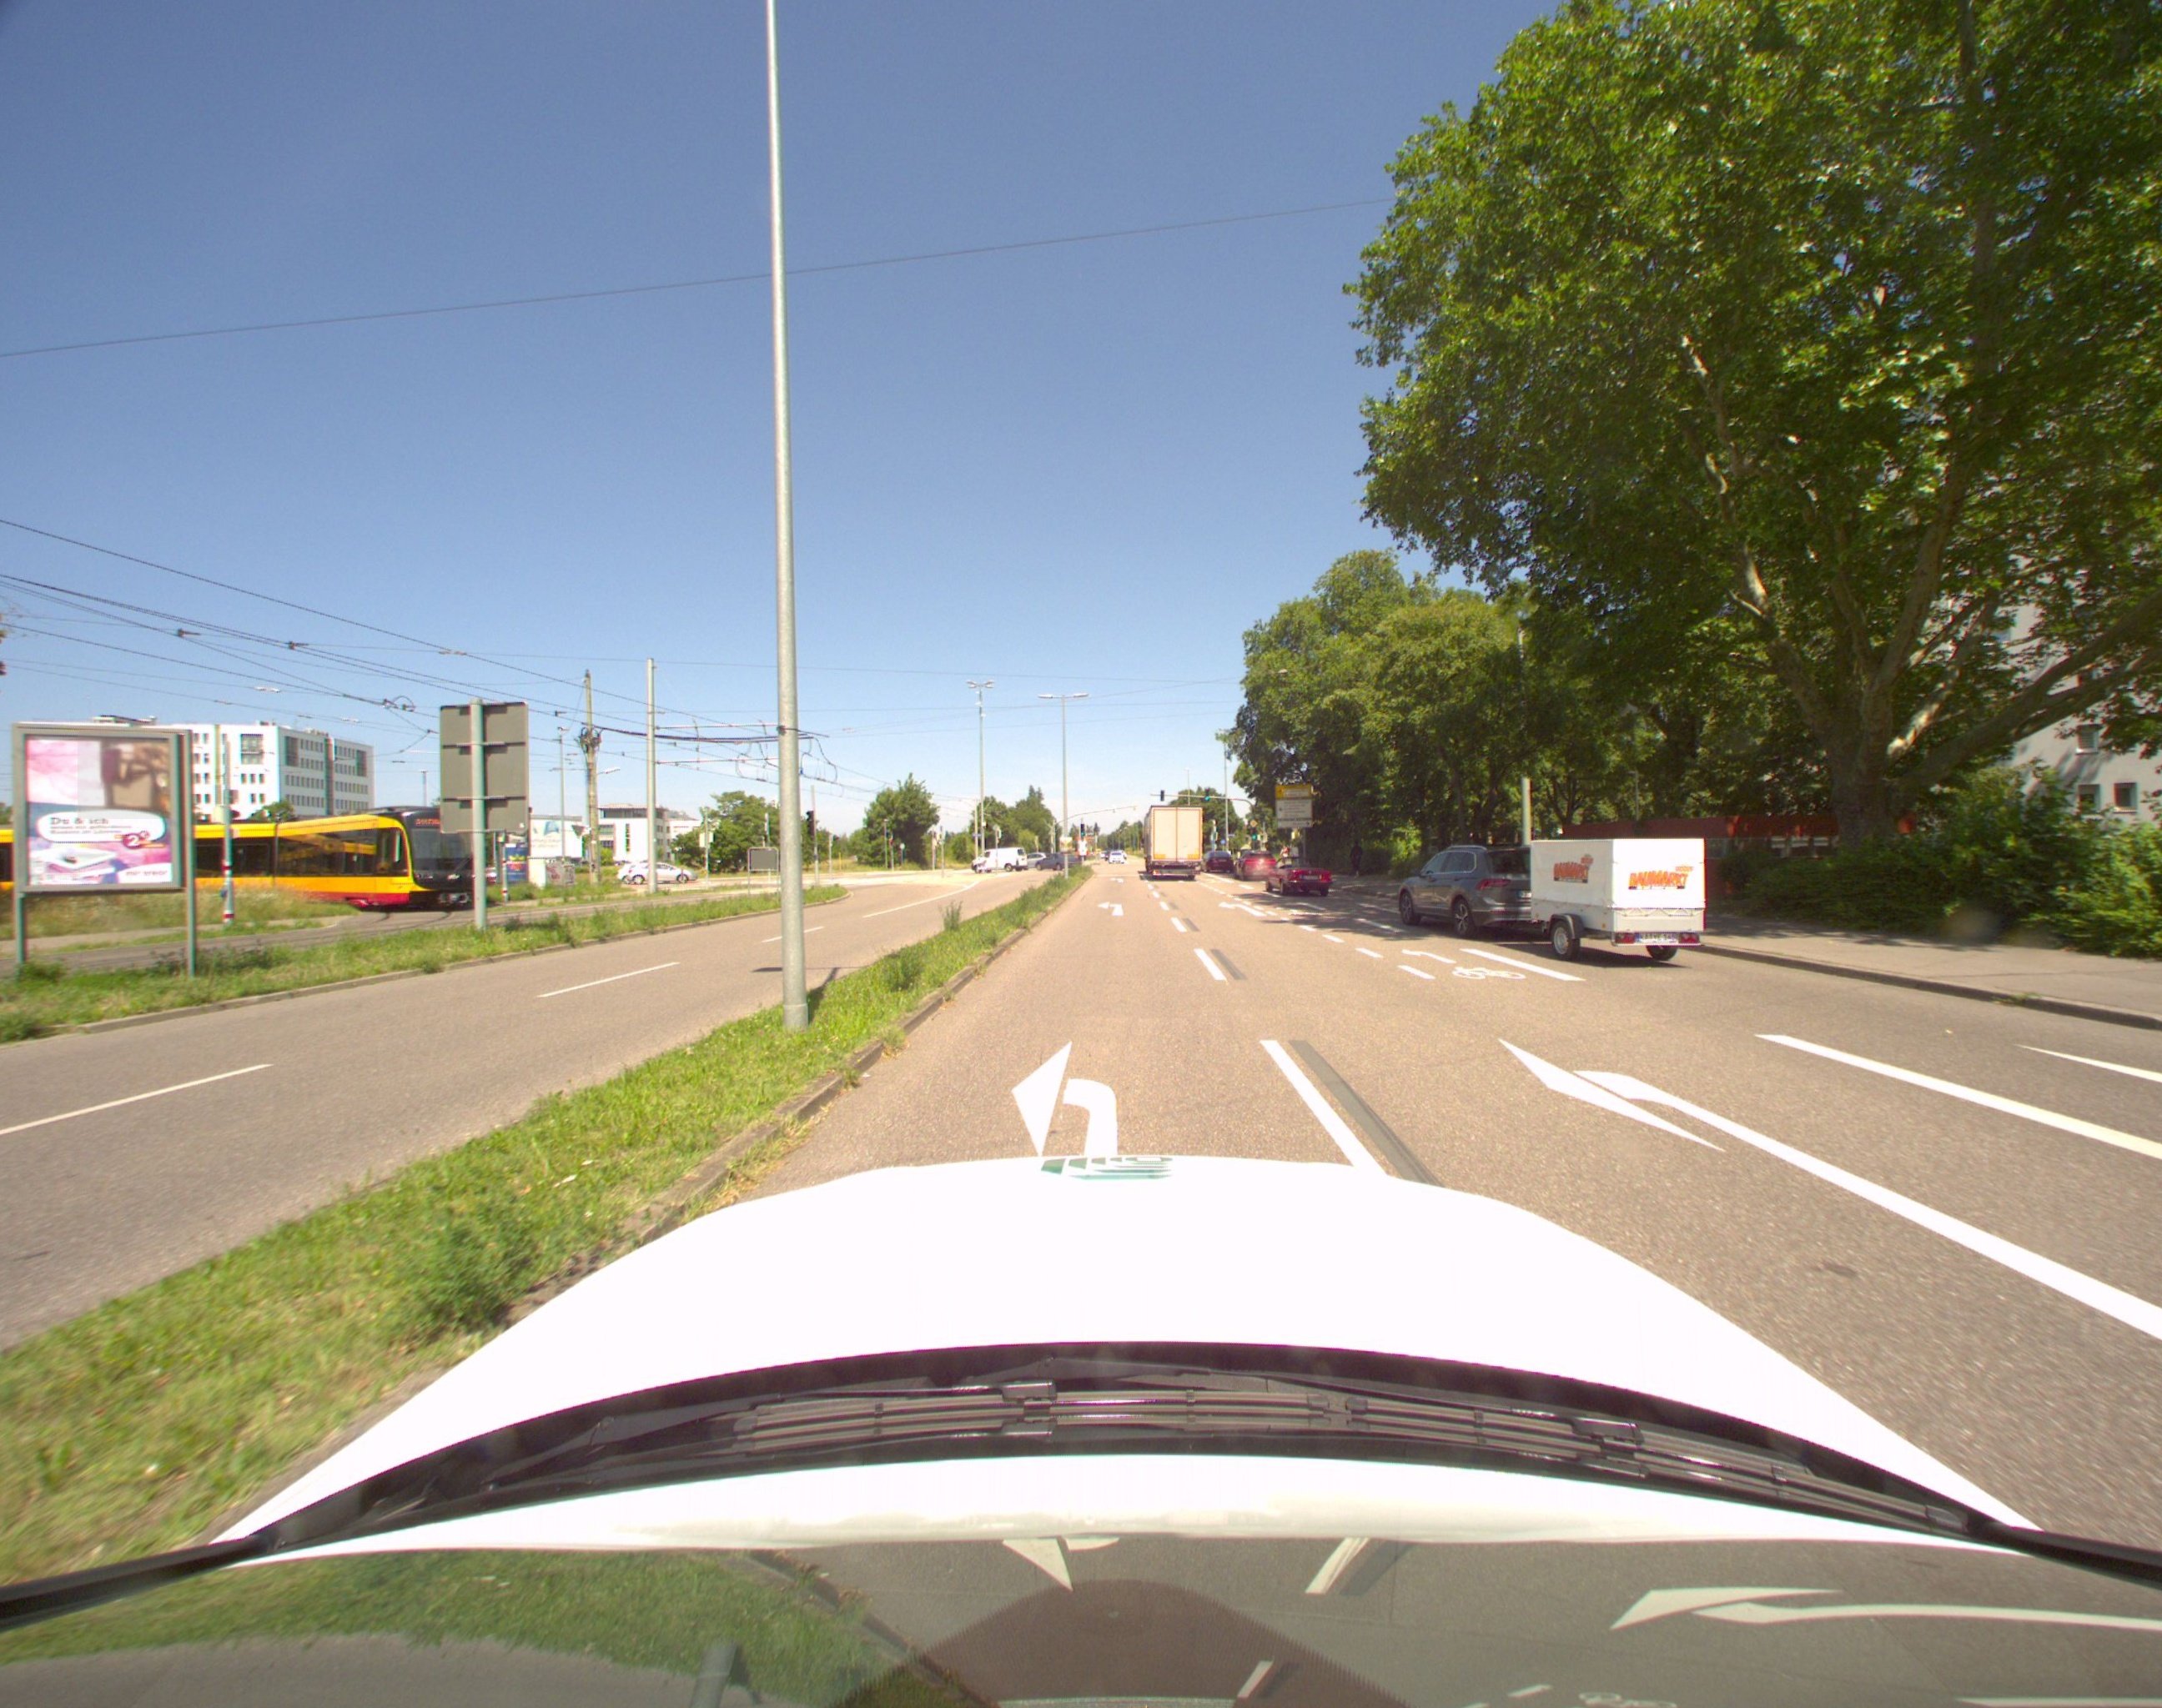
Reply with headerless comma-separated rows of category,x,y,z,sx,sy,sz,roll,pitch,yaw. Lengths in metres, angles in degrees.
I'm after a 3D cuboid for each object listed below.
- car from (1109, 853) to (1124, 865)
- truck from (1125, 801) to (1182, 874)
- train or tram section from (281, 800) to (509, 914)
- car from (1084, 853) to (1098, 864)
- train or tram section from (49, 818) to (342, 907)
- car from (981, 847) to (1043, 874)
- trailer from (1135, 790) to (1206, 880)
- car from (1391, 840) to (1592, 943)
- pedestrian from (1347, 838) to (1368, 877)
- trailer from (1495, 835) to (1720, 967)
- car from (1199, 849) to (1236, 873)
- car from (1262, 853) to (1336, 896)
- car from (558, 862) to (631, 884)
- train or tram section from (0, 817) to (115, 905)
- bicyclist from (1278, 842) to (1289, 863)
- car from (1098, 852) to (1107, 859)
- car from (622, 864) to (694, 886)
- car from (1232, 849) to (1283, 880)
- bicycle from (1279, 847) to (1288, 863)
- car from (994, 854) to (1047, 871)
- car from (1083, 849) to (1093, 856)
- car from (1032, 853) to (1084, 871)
car,4.290,0.565,98.815,1.851,1.372,4.158,0,0,2
truck,4.548,-1.045,52.660,2.819,4.344,8.281,1,1,-1
train or tram section,-25.488,0.038,29.845,13.120,3.466,3.066,1,0,35
car,1.367,0.618,108.321,1.851,1.372,4.158,0,0,2
train or tram section,-36.633,0.292,33.817,10.130,3.466,3.054,0,0,9
car,-5.760,0.541,67.853,4.691,2.111,2.011,0,1,22
trailer,4.647,-0.962,44.155,2.818,4.421,8.747,0,0,-1
car,7.495,0.590,15.402,1.693,1.654,4.400,0,0,2
pedestrian,13.336,0.153,39.281,0.750,1.816,0.694,-2,0,1
trailer,7.391,0.585,11.745,1.463,1.669,2.857,0,0,1
car,9.218,0.421,55.203,1.985,1.503,4.507,-1,1,3
car,7.716,0.683,29.185,1.648,1.396,4.269,0,0,2
car,-34.043,1.299,57.109,4.292,1.412,1.881,-1,1,-28
train or tram section,-47.863,0.252,32.188,12.743,3.466,3.028,0,0,-18
bicyclist,17.011,-0.093,68.579,0.796,1.727,0.681,-3,-1,13
car,4.605,0.356,173.399,1.851,1.372,4.158,0,0,2
car,-28.886,1.389,55.758,4.291,1.293,1.982,-1,1,-28
car,9.033,0.510,41.972,1.851,1.549,3.888,0,0,2
bicycle,17.073,0.108,68.594,0.640,1.304,1.632,-3,-1,14
car,-5.365,0.728,72.042,4.428,1.371,1.887,-1,1,-18
car,1.448,-0.240,158.655,1.851,1.372,4.158,0,0,2
car,-1.830,0.594,63.493,1.907,1.372,4.381,-1,1,-37
